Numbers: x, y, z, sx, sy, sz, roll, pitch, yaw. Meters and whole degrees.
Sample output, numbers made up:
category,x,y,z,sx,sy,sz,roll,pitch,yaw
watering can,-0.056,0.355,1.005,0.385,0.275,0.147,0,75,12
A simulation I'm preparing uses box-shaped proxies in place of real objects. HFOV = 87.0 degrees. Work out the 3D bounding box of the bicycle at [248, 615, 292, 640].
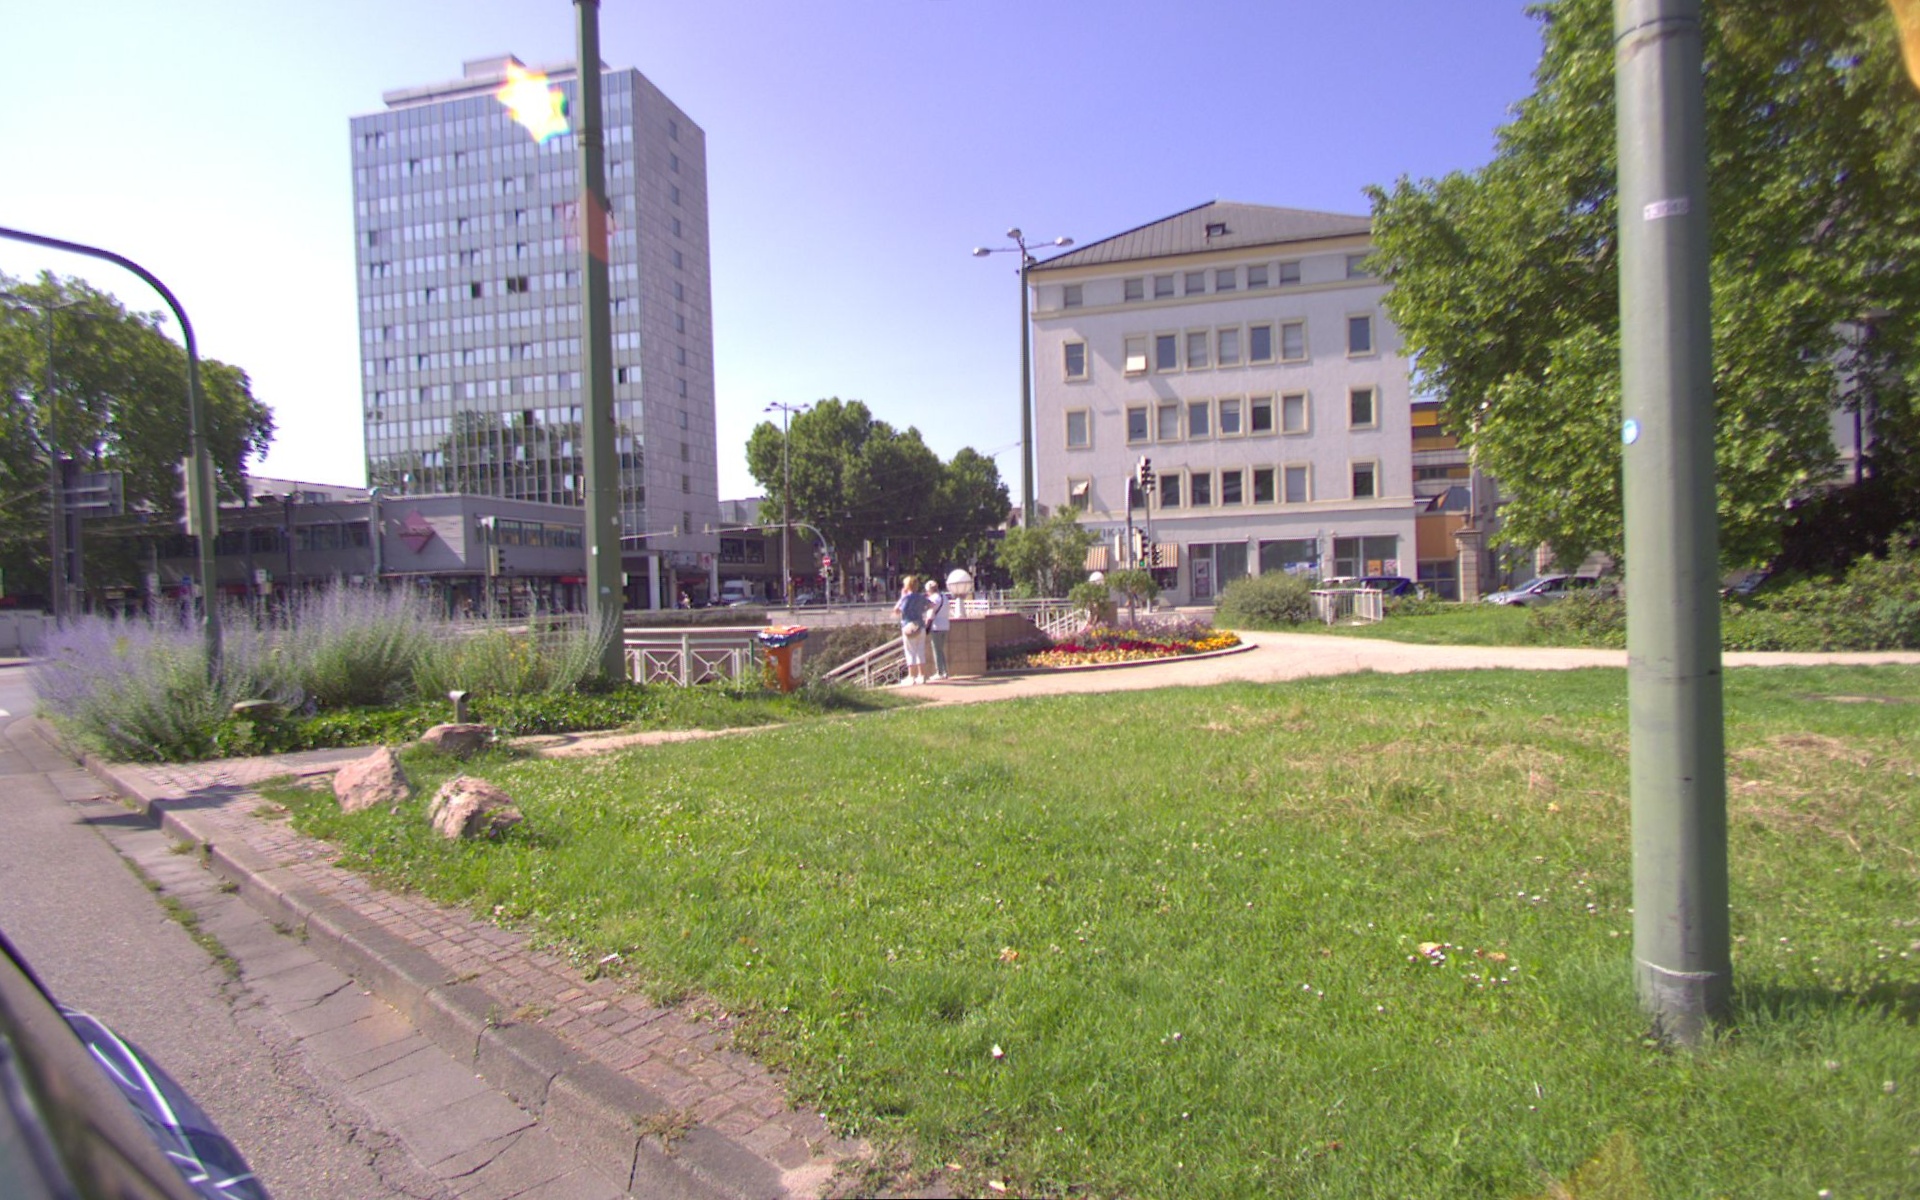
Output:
category,x,y,z,sx,sy,sz,roll,pitch,yaw
bicycle,-35.225,1.401,51.694,0.521,1.175,1.792,-1,0,40

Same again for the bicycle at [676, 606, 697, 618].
category,x,y,z,sx,sy,sz,roll,pitch,yaw
bicycle,-21.603,0.937,79.975,0.589,0.889,1.796,0,2,24

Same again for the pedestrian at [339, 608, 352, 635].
category,x,y,z,sx,sy,sz,roll,pitch,yaw
pedestrian,-38.505,1.329,63.431,0.589,1.650,0.567,-1,0,-21

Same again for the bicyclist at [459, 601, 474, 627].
category,x,y,z,sx,sy,sz,roll,pitch,yaw
bicyclist,-32.122,0.921,65.871,0.584,1.700,0.674,-2,1,44

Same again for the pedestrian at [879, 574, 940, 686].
category,x,y,z,sx,sy,sz,roll,pitch,yaw
pedestrian,-0.739,0.431,15.006,0.596,1.605,0.686,-2,0,26

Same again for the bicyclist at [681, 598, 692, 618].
category,x,y,z,sx,sy,sz,roll,pitch,yaw
bicyclist,-21.605,0.613,79.965,0.579,1.538,0.679,0,1,24

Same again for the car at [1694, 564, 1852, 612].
category,x,y,z,sx,sy,sz,roll,pitch,yaw
car,26.059,-0.385,32.565,3.550,1.389,1.605,-2,1,14

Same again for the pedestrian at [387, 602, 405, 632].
category,x,y,z,sx,sy,sz,roll,pitch,yaw
pedestrian,-35.804,1.087,64.214,0.671,1.850,0.812,-1,0,44

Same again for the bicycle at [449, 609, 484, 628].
category,x,y,z,sx,sy,sz,roll,pitch,yaw
bicycle,-32.124,1.210,65.866,0.577,1.110,1.941,-2,1,43

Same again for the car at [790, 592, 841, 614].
category,x,y,z,sx,sy,sz,roll,pitch,yaw
car,-11.040,0.216,77.318,1.873,1.545,4.043,-2,1,26

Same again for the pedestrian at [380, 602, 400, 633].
category,x,y,z,sx,sy,sz,roll,pitch,yaw
pedestrian,-35.092,1.083,62.295,0.664,1.850,0.820,-1,0,13

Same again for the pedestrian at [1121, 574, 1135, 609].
category,x,y,z,sx,sy,sz,roll,pitch,yaw
pedestrian,8.691,-0.425,52.371,0.635,1.772,0.592,-1,0,14

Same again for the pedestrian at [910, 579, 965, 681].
category,x,y,z,sx,sy,sz,roll,pitch,yaw
pedestrian,-0.336,0.449,15.680,0.472,1.521,0.844,-2,1,25

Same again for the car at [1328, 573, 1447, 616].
category,x,y,z,sx,sy,sz,roll,pitch,yaw
car,14.890,-0.206,35.390,3.550,1.356,1.605,-2,1,14

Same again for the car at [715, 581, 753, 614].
category,x,y,z,sx,sy,sz,roll,pitch,yaw
car,-21.282,-0.253,95.612,1.729,2.938,4.621,-2,1,11

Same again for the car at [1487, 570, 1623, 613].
category,x,y,z,sx,sy,sz,roll,pitch,yaw
car,19.819,-0.273,33.829,3.550,1.278,1.605,-2,1,14

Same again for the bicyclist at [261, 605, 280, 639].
category,x,y,z,sx,sy,sz,roll,pitch,yaw
bicyclist,-35.228,1.128,51.686,0.521,1.719,0.675,-1,0,40

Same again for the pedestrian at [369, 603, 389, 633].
category,x,y,z,sx,sy,sz,roll,pitch,yaw
pedestrian,-35.855,1.094,62.448,0.728,1.850,0.820,-1,0,13

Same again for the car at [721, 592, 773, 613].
category,x,y,z,sx,sy,sz,roll,pitch,yaw
car,-17.112,0.181,81.497,1.873,1.471,4.127,-2,1,26

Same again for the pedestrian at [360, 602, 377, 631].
category,x,y,z,sx,sy,sz,roll,pitch,yaw
pedestrian,-37.605,1.028,64.367,0.810,1.820,0.672,-1,0,-39
